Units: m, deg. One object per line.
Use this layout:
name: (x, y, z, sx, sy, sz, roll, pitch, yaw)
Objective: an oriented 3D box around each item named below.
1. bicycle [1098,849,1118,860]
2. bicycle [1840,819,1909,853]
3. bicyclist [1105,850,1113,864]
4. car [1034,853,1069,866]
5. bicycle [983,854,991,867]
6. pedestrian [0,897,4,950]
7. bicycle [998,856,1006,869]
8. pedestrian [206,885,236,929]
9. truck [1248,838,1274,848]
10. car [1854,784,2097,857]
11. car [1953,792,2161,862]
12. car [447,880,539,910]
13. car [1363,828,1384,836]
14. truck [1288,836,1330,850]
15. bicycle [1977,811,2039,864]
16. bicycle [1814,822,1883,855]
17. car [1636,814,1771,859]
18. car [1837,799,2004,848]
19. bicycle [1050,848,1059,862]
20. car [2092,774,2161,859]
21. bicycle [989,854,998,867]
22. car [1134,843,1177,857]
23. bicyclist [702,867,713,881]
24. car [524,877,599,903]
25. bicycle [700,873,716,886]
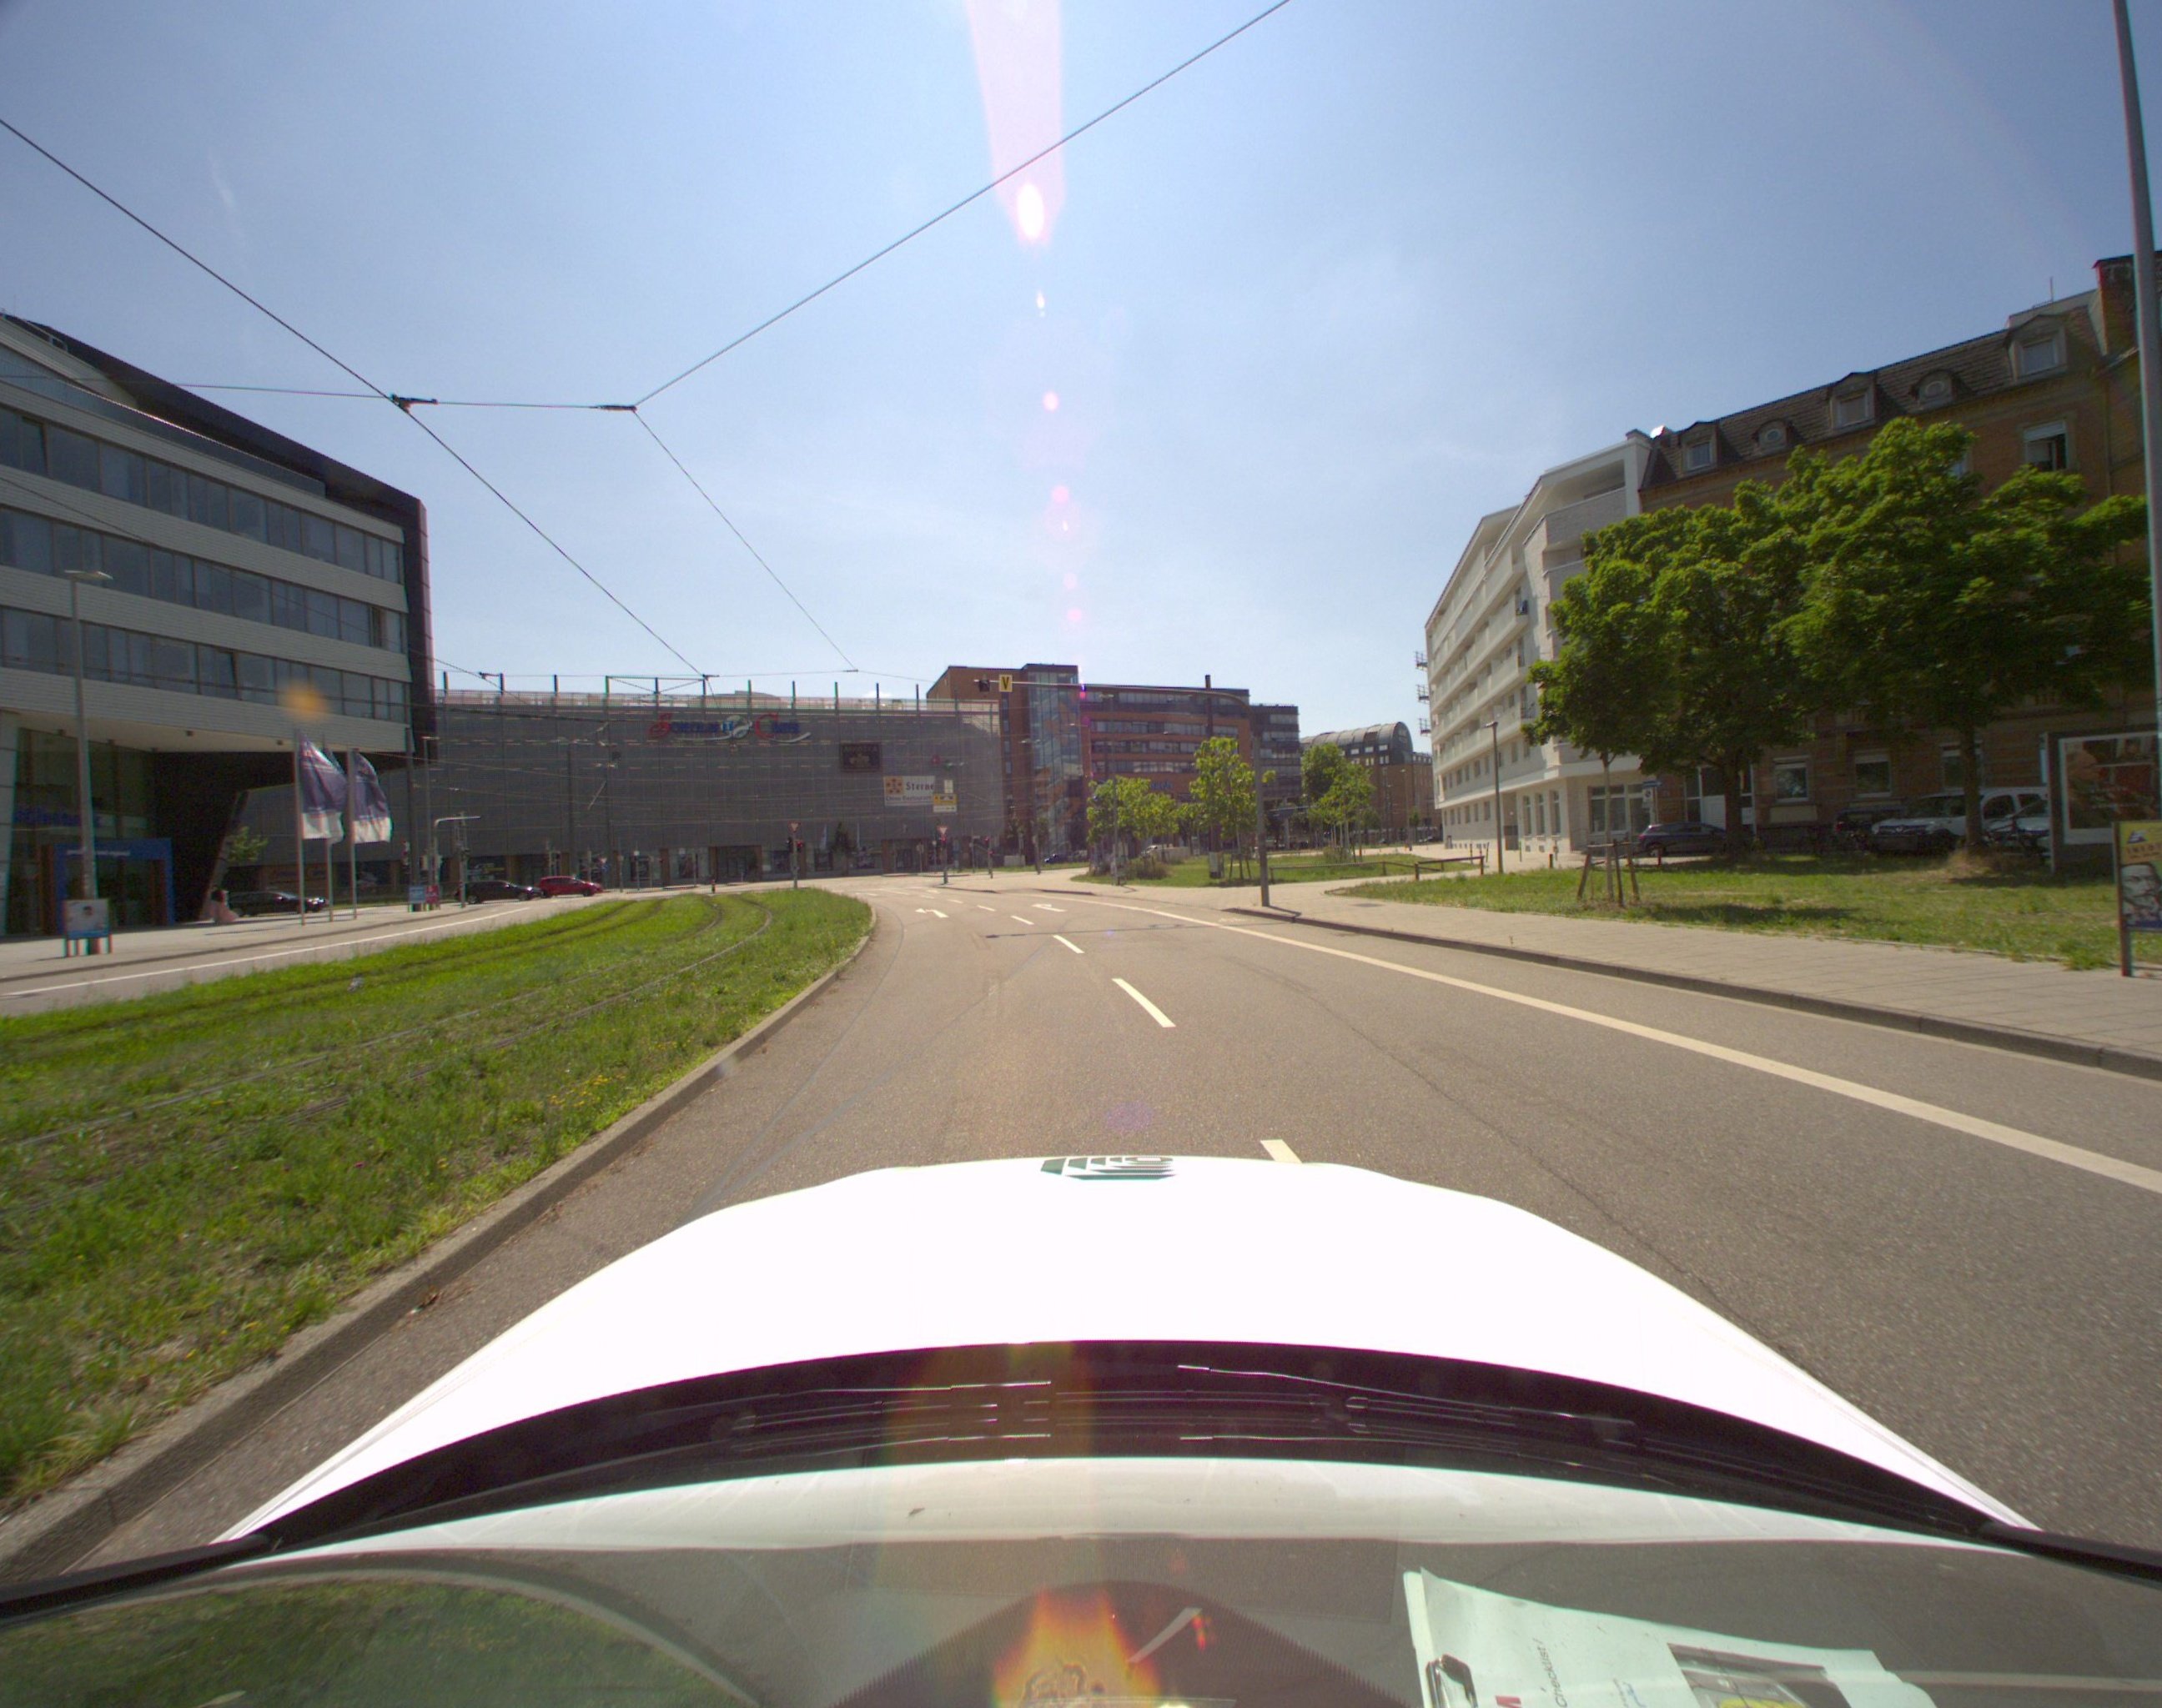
bicycle: (3.960, 0.128, 119.955, 2.859, 1.557, 0.700, -2, 0, -20)
bicycle: (23.471, -0.527, 24.083, 2.048, 0.935, 0.505, -2, 0, -16)
bicyclist: (4.095, 0.499, 120.013, 0.915, 2.013, 0.743, -2, 0, -20)
car: (-3.686, 0.696, 100.965, 4.004, 1.442, 1.730, -2, 0, -23)
bicycle: (-12.972, 0.944, 112.476, 0.601, 1.731, 2.244, -2, 0, -21)
pedestrian: (-31.245, 2.008, 23.196, 0.573, 1.518, 0.593, -2, 0, 29)
bicycle: (-10.968, 1.127, 113.042, 0.601, 1.731, 2.244, -2, 0, -21)
pedestrian: (-33.247, 2.046, 31.500, 0.904, 1.630, 0.754, -2, 0, 44)
truck: (39.650, -2.467, 179.163, 5.312, 2.013, 1.894, -2, 0, 43)
car: (22.052, -0.807, 20.121, 4.862, 1.600, 1.829, -2, 0, -12)
car: (21.254, -0.571, 17.406, 3.990, 1.332, 1.752, -2, 0, -12)
car: (-37.606, 2.578, 52.240, 4.554, 1.508, 1.825, -3, 1, -29)
car: (67.455, -4.989, 187.722, 1.877, 1.728, 3.951, -2, 0, -44)
truck: (50.635, -2.530, 181.021, 2.011, 2.809, 9.128, -2, 0, -43)
bicycle: (17.689, -0.314, 15.561, 0.470, 0.947, 1.380, -2, 0, 36)
bicycle: (23.190, -0.472, 24.609, 2.048, 0.935, 0.505, -2, 0, -16)
car: (24.928, -0.672, 32.690, 4.079, 1.624, 1.705, -2, 0, 45)
car: (29.803, -1.041, 29.080, 4.031, 1.529, 1.788, -2, 0, 45)
bicycle: (-3.833, 0.130, 117.332, 0.486, 2.013, 2.331, -2, 0, -20)
car: (20.217, -0.702, 14.304, 3.861, 1.432, 1.600, -2, 0, -14)
bicycle: (-12.158, 0.869, 112.807, 0.601, 1.731, 2.244, -2, 0, -21)
car: (9.998, -0.494, 109.240, 5.494, 1.668, 1.982, -2, 0, -28)
bicyclist: (-42.466, 2.268, 92.615, 1.041, 1.571, 0.773, -2, 0, -16)
car: (-35.784, 2.449, 56.244, 4.147, 1.508, 1.827, -2, 0, -26)
bicycle: (-42.529, 2.938, 92.931, 1.063, 1.390, 3.008, -2, 0, -15)
